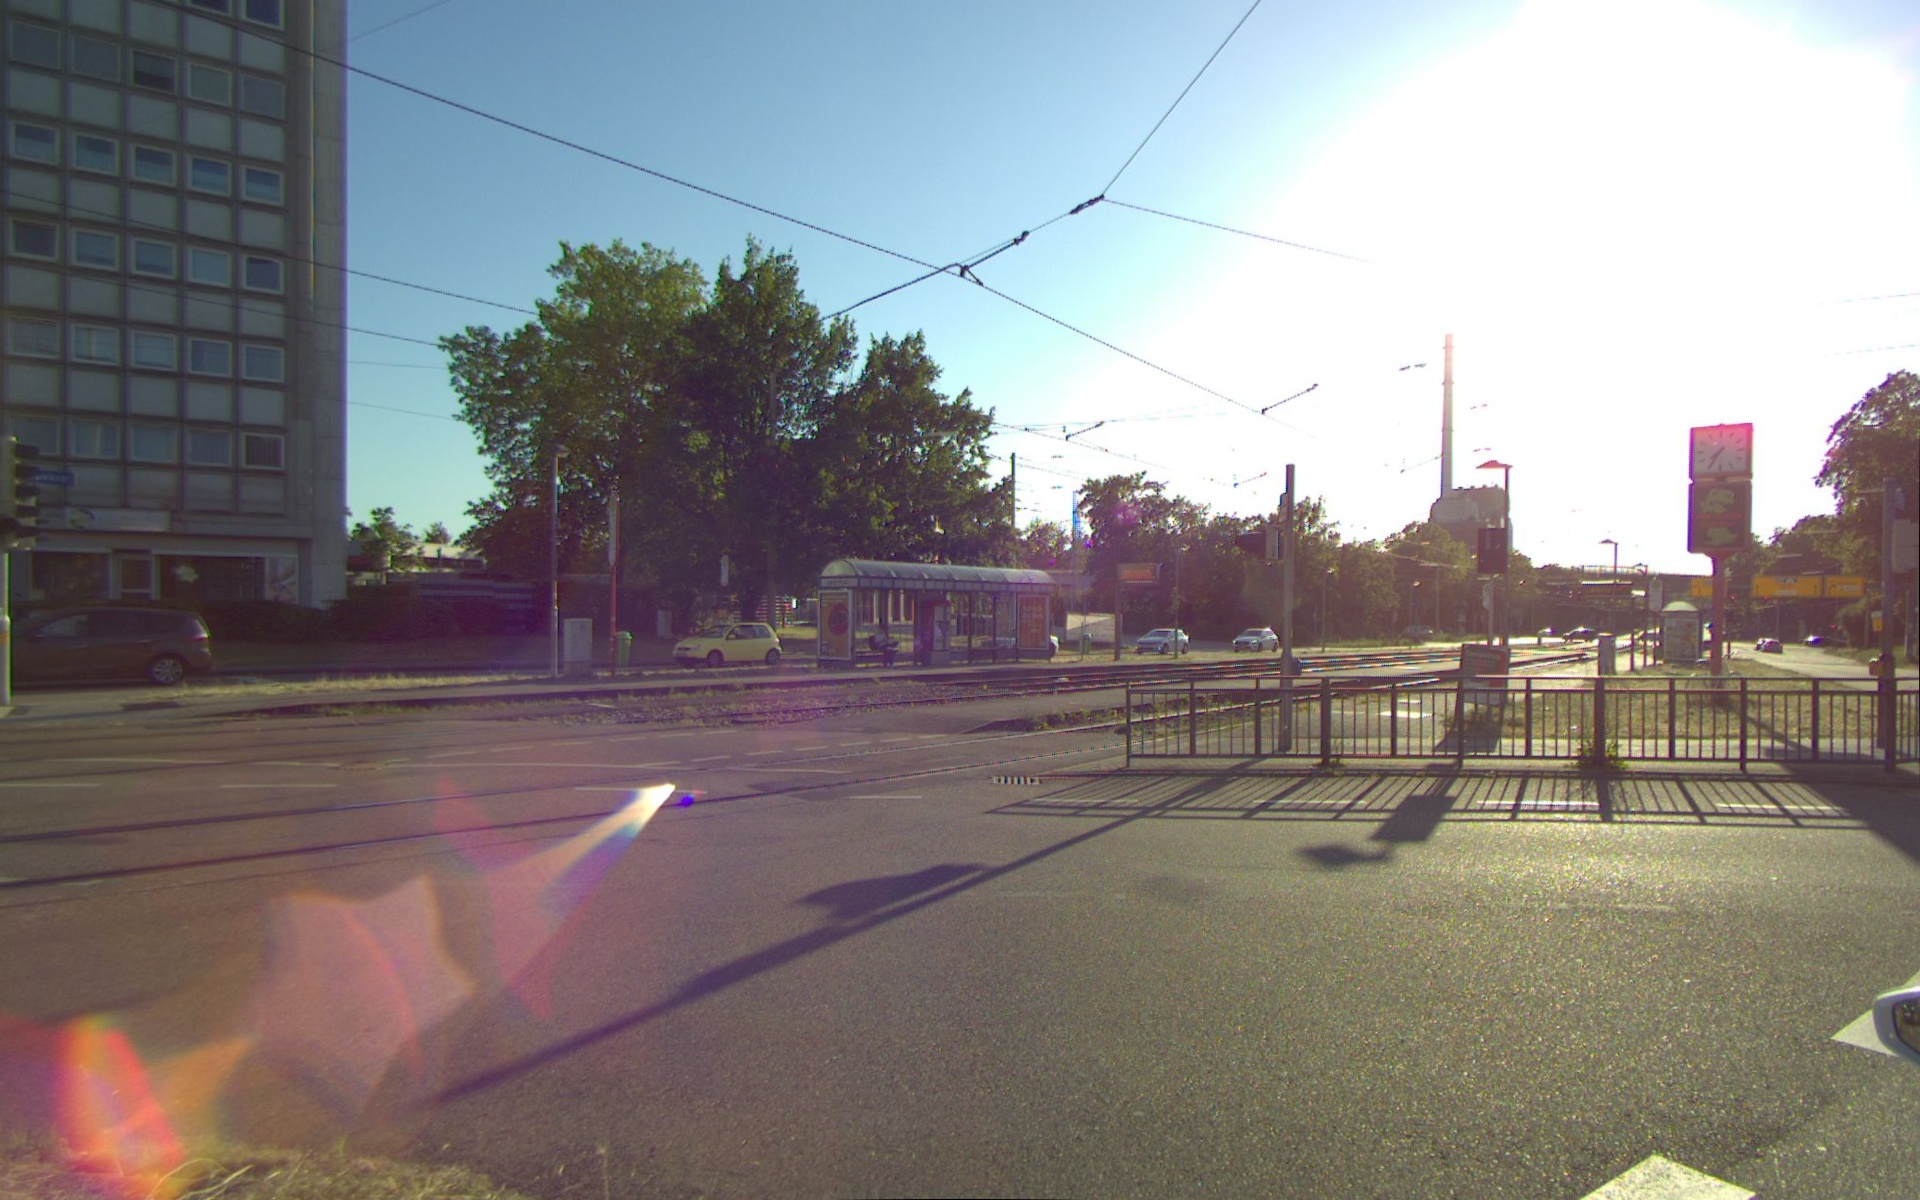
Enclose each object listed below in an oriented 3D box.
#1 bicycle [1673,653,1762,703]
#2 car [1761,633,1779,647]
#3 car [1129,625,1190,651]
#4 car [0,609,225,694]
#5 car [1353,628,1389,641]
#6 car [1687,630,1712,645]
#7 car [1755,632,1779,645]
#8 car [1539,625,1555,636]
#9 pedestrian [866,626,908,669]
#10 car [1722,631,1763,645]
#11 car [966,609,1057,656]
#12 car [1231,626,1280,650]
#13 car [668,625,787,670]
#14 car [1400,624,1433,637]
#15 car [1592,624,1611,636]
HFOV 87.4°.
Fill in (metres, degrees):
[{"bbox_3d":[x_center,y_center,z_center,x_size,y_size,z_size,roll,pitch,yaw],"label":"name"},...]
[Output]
[{"bbox_3d":[14.856,1.520,19.694,1.717,0.930,0.552,0,-2,-21],"label":"bicycle"},{"bbox_3d":[90.744,4.417,112.504,1.496,1.406,3.348,1,1,39],"label":"car"},{"bbox_3d":[11.356,2.114,56.983,1.779,1.385,3.948,0,-1,39],"label":"car"},{"bbox_3d":[-18.063,1.028,21.017,1.563,1.616,4.128,1,0,44],"label":"car"},{"bbox_3d":[59.949,5.006,146.577,4.693,1.868,2.001,0,-1,12],"label":"car"},{"bbox_3d":[74.582,3.771,101.281,2.012,1.465,3.984,-1,-2,38],"label":"car"},{"bbox_3d":[94.943,4.551,118.201,2.012,1.465,3.985,0,-1,37],"label":"car"},{"bbox_3d":[106.087,5.535,181.656,1.969,2.040,3.983,0,-2,39],"label":"car"},{"bbox_3d":[-2.139,1.377,29.422,0.833,1.204,0.918,-1,-1,41],"label":"pedestrian"},{"bbox_3d":[127.331,6.108,163.472,1.979,2.041,4.817,0,1,-34],"label":"car"},{"bbox_3d":[2.361,1.440,45.259,1.971,2.040,4.139,-1,-1,41],"label":"car"},{"bbox_3d":[19.874,2.536,67.396,1.636,1.552,4.373,0,-2,38],"label":"car"},{"bbox_3d":[-7.498,1.504,32.661,1.527,1.358,3.575,0,-1,41],"label":"car"},{"bbox_3d":[66.034,4.402,145.343,3.919,1.773,2.001,0,-1,12],"label":"car"},{"bbox_3d":[111.132,5.113,174.065,1.972,2.040,4.834,-1,-2,43],"label":"car"}]
